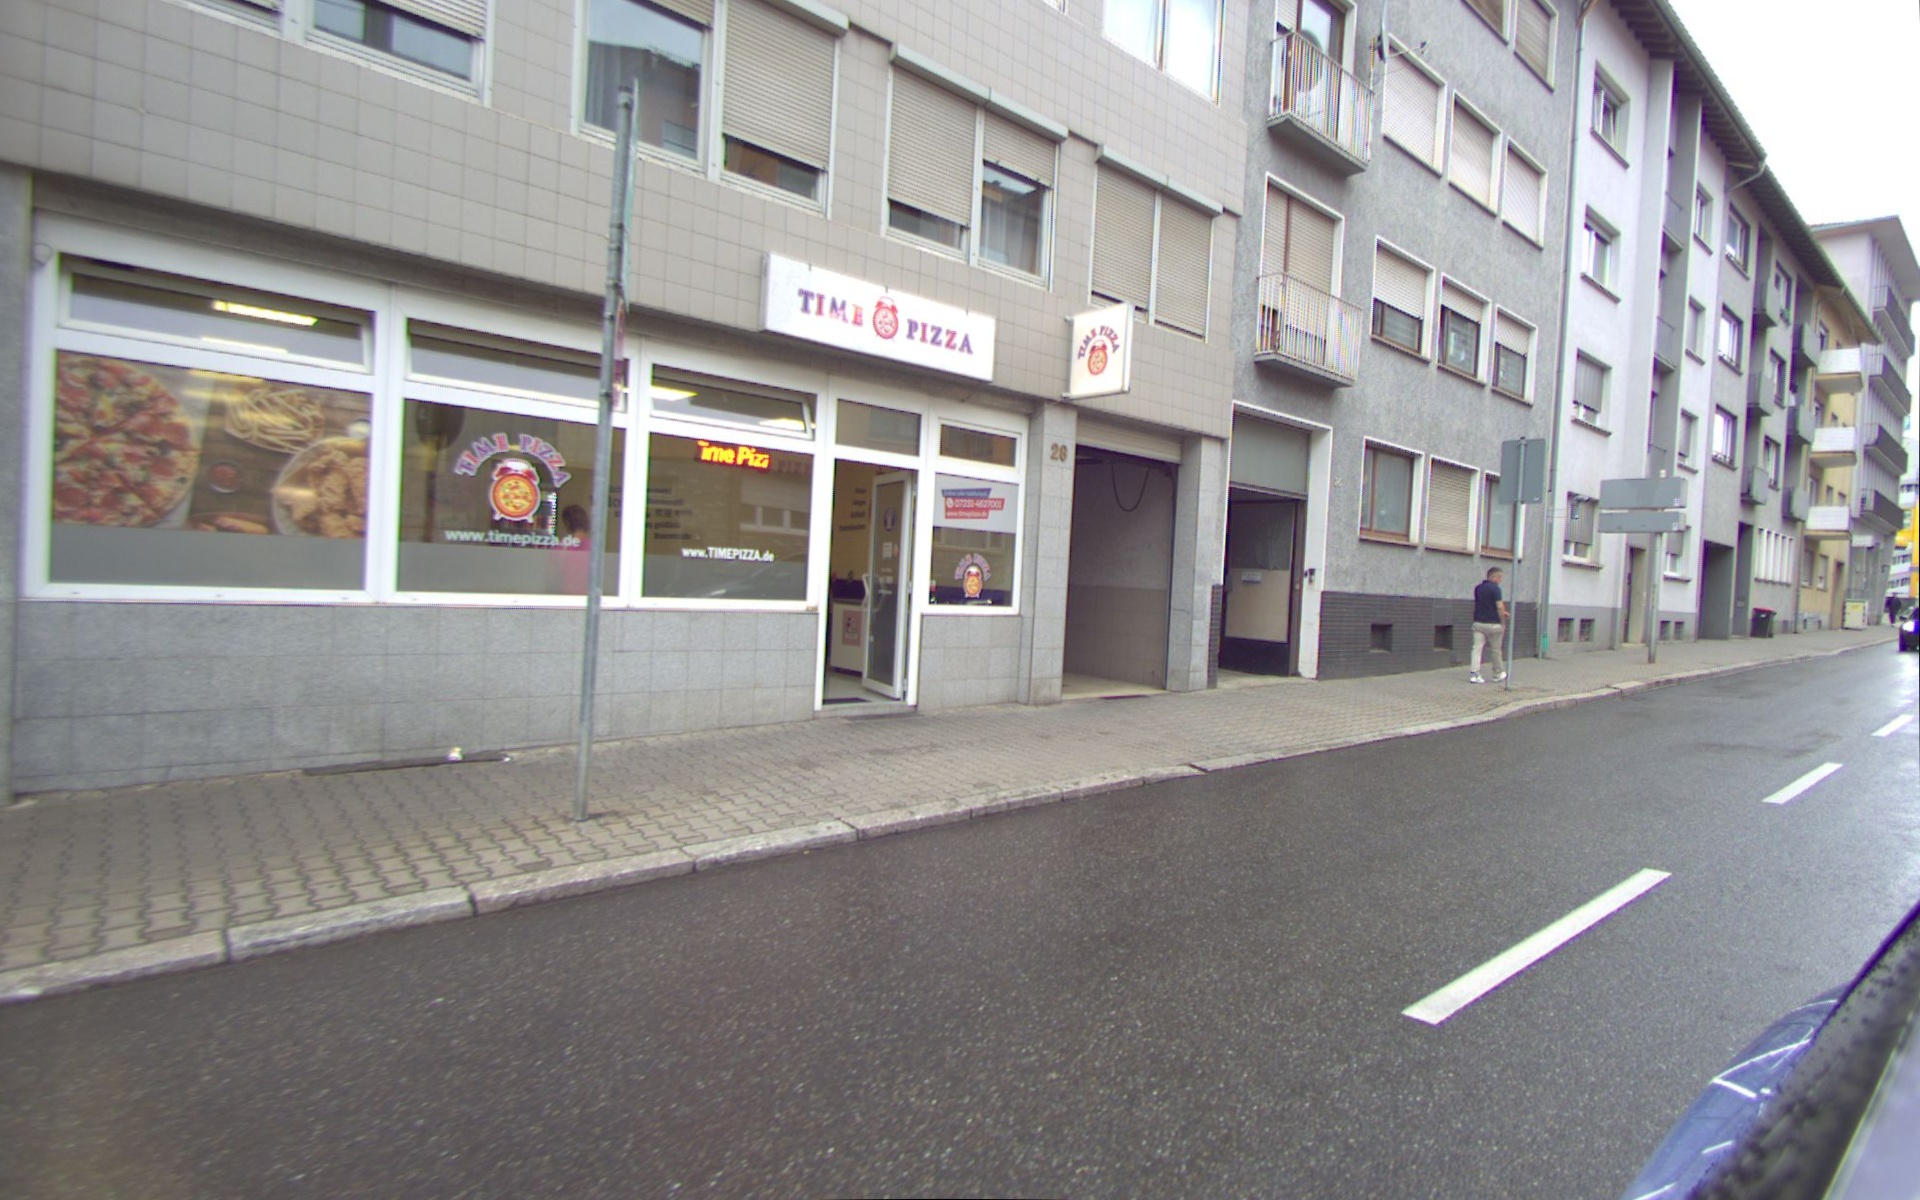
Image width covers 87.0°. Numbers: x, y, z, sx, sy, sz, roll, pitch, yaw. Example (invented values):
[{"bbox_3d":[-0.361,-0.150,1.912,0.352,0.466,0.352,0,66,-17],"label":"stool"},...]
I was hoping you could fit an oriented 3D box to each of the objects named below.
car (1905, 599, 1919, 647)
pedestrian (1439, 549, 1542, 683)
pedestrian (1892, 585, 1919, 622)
[{"bbox_3d":[31.070,0.699,31.625,4.144,1.394,1.854,-1,1,-41],"label":"car"},{"bbox_3d":[8.052,0.219,15.374,1.100,1.887,0.871,-1,7,-41],"label":"pedestrian"},{"bbox_3d":[47.660,0.183,50.835,1.117,1.772,0.946,4,3,44],"label":"pedestrian"}]
